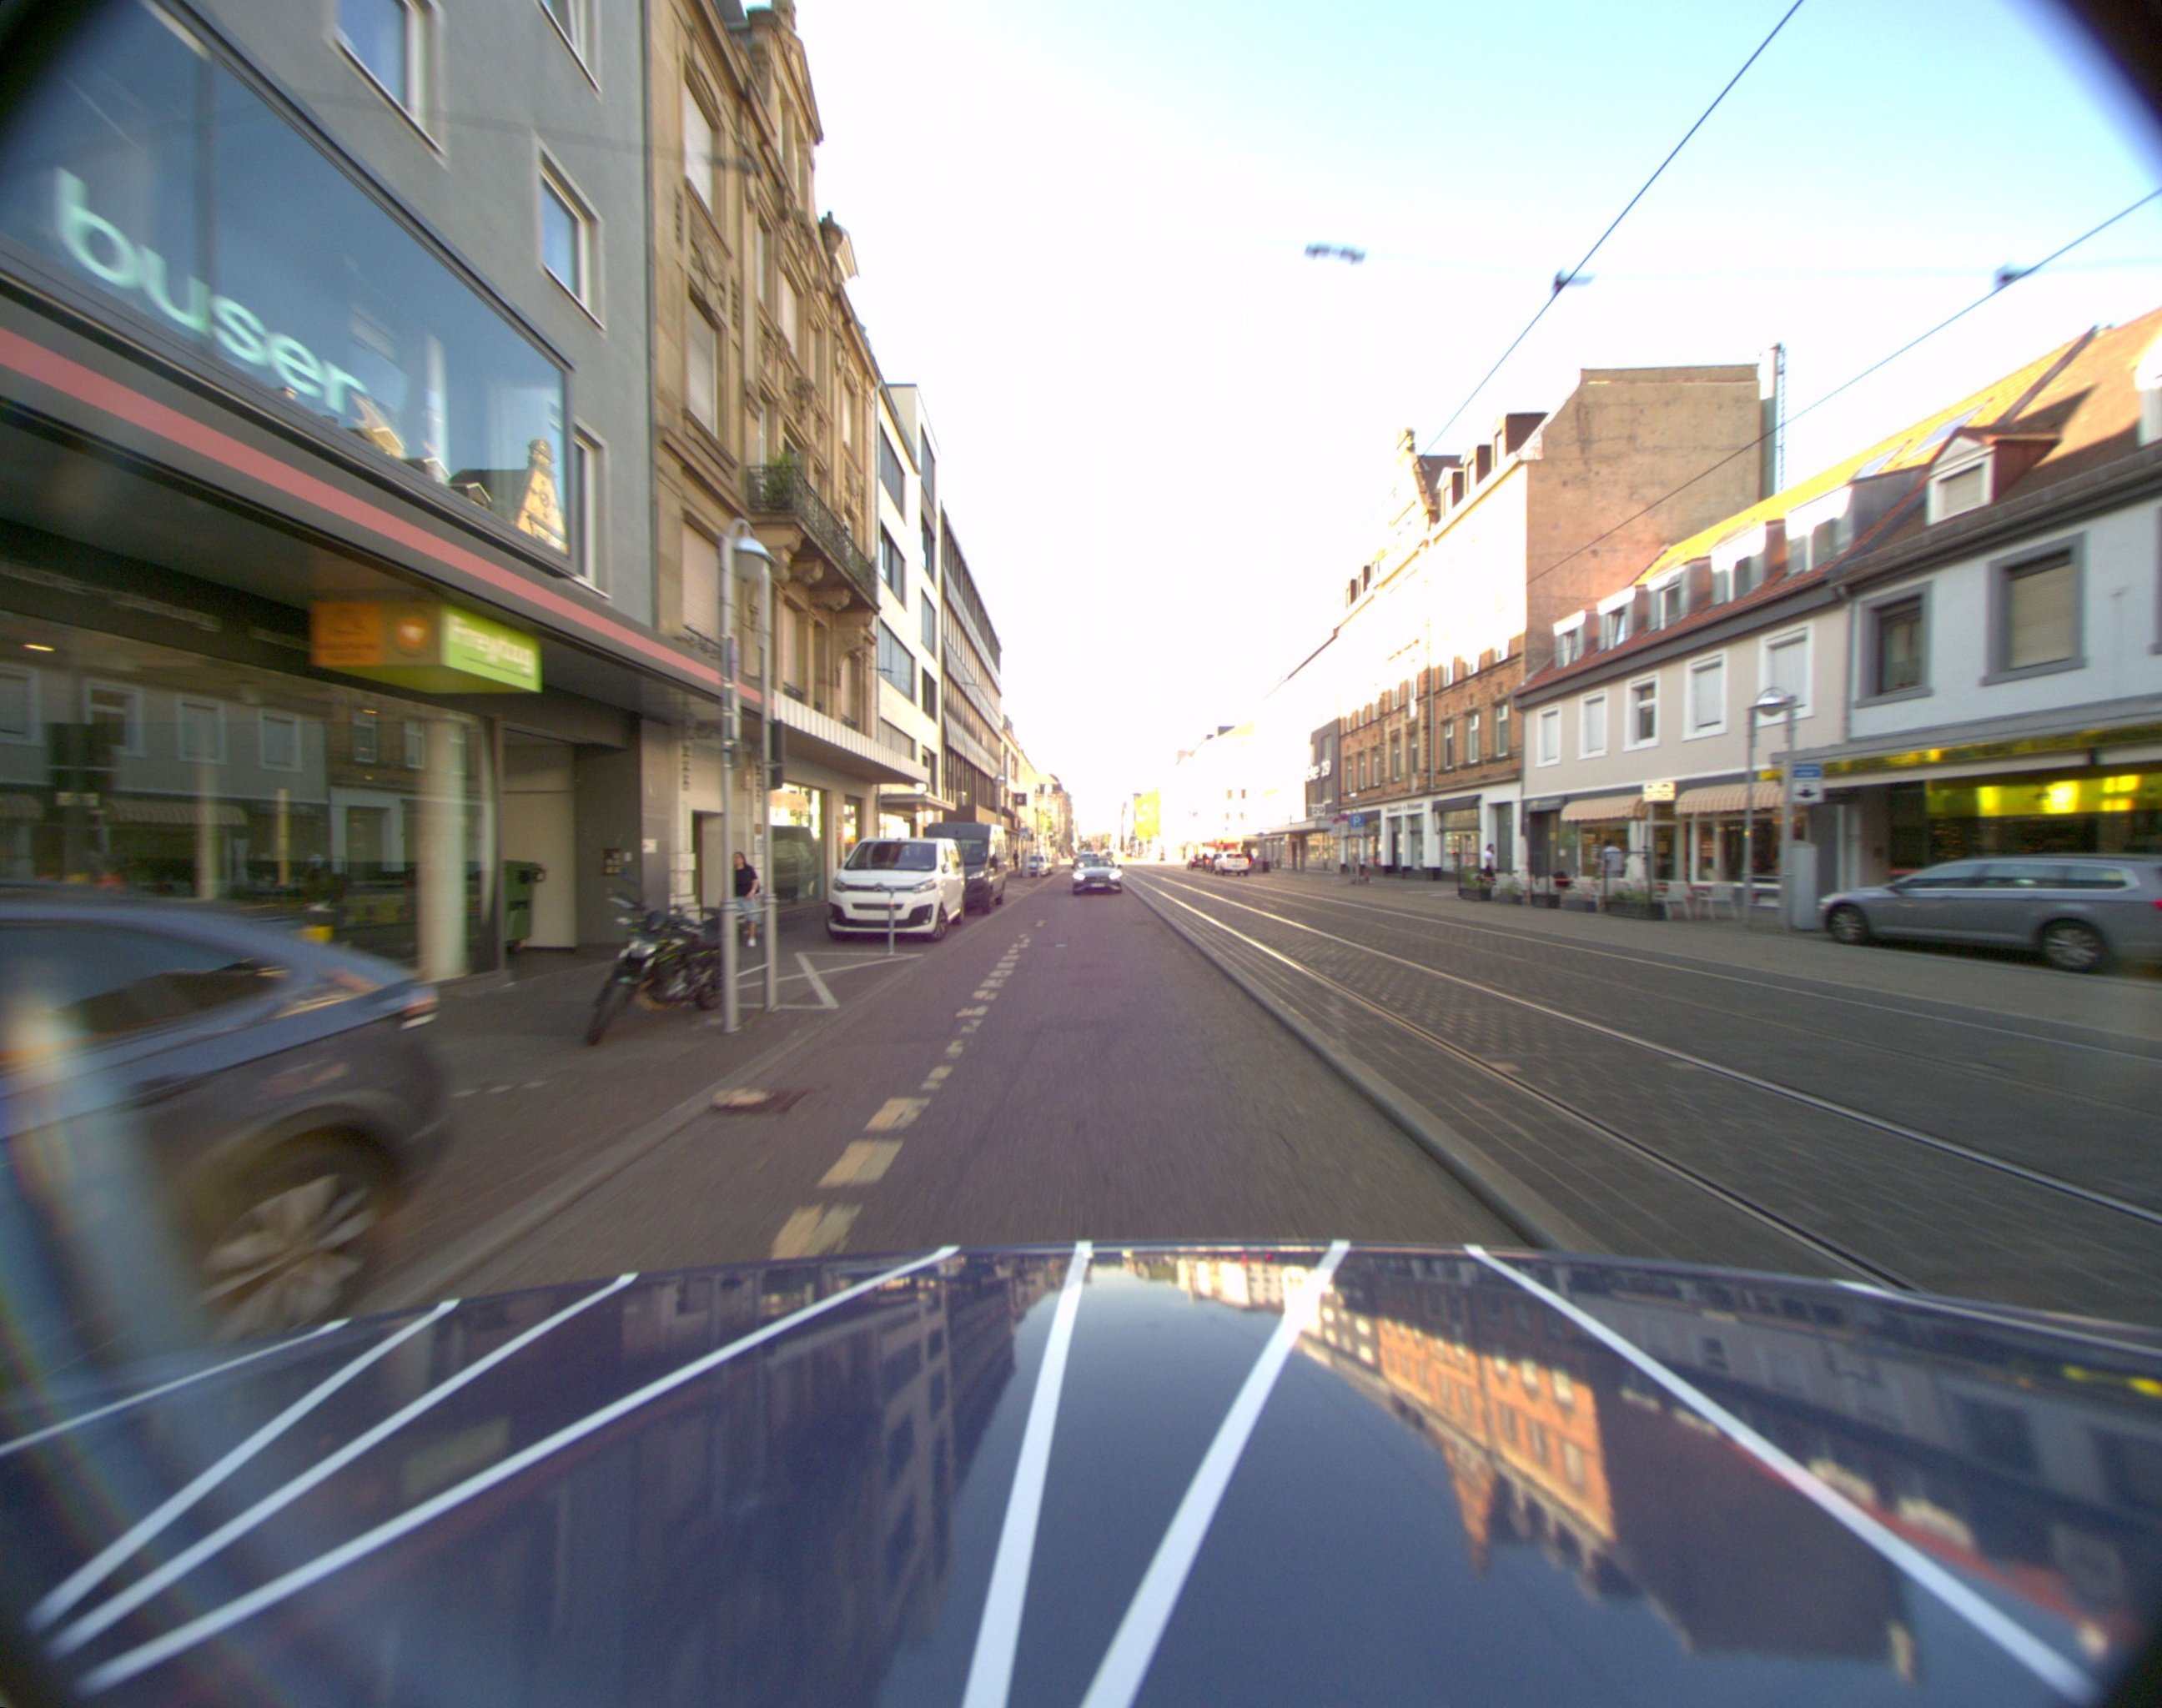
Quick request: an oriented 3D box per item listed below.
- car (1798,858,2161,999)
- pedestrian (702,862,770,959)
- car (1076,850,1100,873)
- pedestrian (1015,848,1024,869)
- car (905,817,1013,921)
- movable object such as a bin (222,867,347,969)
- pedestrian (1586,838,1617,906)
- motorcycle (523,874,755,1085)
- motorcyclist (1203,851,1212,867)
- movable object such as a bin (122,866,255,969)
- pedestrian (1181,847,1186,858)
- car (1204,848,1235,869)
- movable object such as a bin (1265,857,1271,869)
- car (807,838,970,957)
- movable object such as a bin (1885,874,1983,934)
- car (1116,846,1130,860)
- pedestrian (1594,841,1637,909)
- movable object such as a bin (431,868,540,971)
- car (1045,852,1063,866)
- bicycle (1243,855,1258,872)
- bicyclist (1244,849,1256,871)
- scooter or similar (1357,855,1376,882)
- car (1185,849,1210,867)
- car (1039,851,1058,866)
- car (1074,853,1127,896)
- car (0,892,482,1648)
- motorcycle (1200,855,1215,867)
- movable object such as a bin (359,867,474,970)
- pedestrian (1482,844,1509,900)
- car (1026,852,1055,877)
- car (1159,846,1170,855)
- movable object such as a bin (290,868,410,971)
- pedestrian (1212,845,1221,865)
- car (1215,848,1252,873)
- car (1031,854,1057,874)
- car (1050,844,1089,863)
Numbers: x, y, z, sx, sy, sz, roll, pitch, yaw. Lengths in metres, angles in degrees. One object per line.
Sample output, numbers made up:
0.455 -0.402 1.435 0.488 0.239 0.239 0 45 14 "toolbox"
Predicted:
13.238 0.860 10.700 1.822 1.505 4.762 -1 1 1 "car"
-5.500 0.878 12.147 0.697 1.499 0.814 0 1 1 "pedestrian"
0.534 0.554 56.725 1.630 1.593 3.330 2 1 1 "car"
-4.951 0.374 61.213 0.513 1.665 0.744 -2 1 1 "pedestrian"
-3.225 0.417 21.393 2.051 2.486 5.687 -2 -1 0 "car"
-11.027 0.863 10.550 0.881 1.353 0.801 0 1 0 "movable object such as a bin"
14.447 0.489 21.101 0.657 1.839 0.583 -2 1 31 "pedestrian"
-3.664 0.935 6.612 0.660 1.423 2.322 0 1 0 "motorcycle"
10.475 0.411 62.936 0.540 1.296 0.655 1 1 1 "motorcyclist"
-12.371 0.860 10.564 0.881 1.353 0.801 0 1 0 "movable object such as a bin"
16.869 -0.248 125.051 0.669 1.939 0.620 -2 1 1 "pedestrian"
10.632 0.336 58.642 1.667 1.521 3.999 1 1 1 "car"
14.338 0.707 58.328 0.325 0.942 0.467 0 1 1 "movable object such as a bin"
-3.436 0.675 14.629 2.051 1.899 4.877 0 1 -2 "car"
16.136 0.923 14.402 0.702 1.057 1.030 0 1 1 "movable object such as a bin"
6.446 -0.140 117.500 1.998 2.002 4.000 -2 1 2 "car"
14.061 0.545 20.001 0.658 1.752 0.581 -2 1 -7 "pedestrian"
-8.259 0.888 10.575 0.881 1.353 0.801 0 1 0 "movable object such as a bin"
-2.829 0.512 79.833 1.630 1.342 3.463 2 1 1 "car"
12.317 0.701 55.251 0.610 1.142 2.100 -2 1 1 "bicycle"
12.291 0.412 55.290 0.576 1.538 0.861 -2 1 1 "bicyclist"
13.891 0.697 36.981 0.404 1.216 1.202 -2 1 1 "scooter or similar"
10.428 0.367 68.056 1.667 1.521 3.999 1 1 1 "car"
-3.184 0.387 74.416 1.630 1.342 3.330 2 1 1 "car"
0.709 0.737 29.324 1.858 1.463 4.785 0 1 0 "car"
-3.282 0.983 0.894 1.768 1.568 4.287 1 1 0 "car"
10.476 0.581 62.959 0.907 0.987 1.935 1 1 1 "motorcycle"
-9.187 0.869 10.542 0.881 1.353 0.801 0 1 0 "movable object such as a bin"
13.707 0.588 25.154 0.581 1.795 0.659 -2 1 12 "pedestrian"
-2.660 0.662 50.074 1.630 1.543 3.508 2 1 1 "car"
14.714 -0.624 134.273 1.630 1.524 3.463 2 1 1 "car"
-10.116 0.882 10.553 0.881 1.353 0.801 0 1 0 "movable object such as a bin"
12.675 0.084 71.217 0.705 1.830 0.636 -2 1 1 "pedestrian"
10.313 0.411 51.502 1.802 1.625 3.675 0 1 1 "car"
-2.678 0.688 55.455 1.630 1.342 3.330 2 1 1 "car"
-1.371 -0.027 87.715 3.989 2.002 2.003 -2 1 30 "car"
